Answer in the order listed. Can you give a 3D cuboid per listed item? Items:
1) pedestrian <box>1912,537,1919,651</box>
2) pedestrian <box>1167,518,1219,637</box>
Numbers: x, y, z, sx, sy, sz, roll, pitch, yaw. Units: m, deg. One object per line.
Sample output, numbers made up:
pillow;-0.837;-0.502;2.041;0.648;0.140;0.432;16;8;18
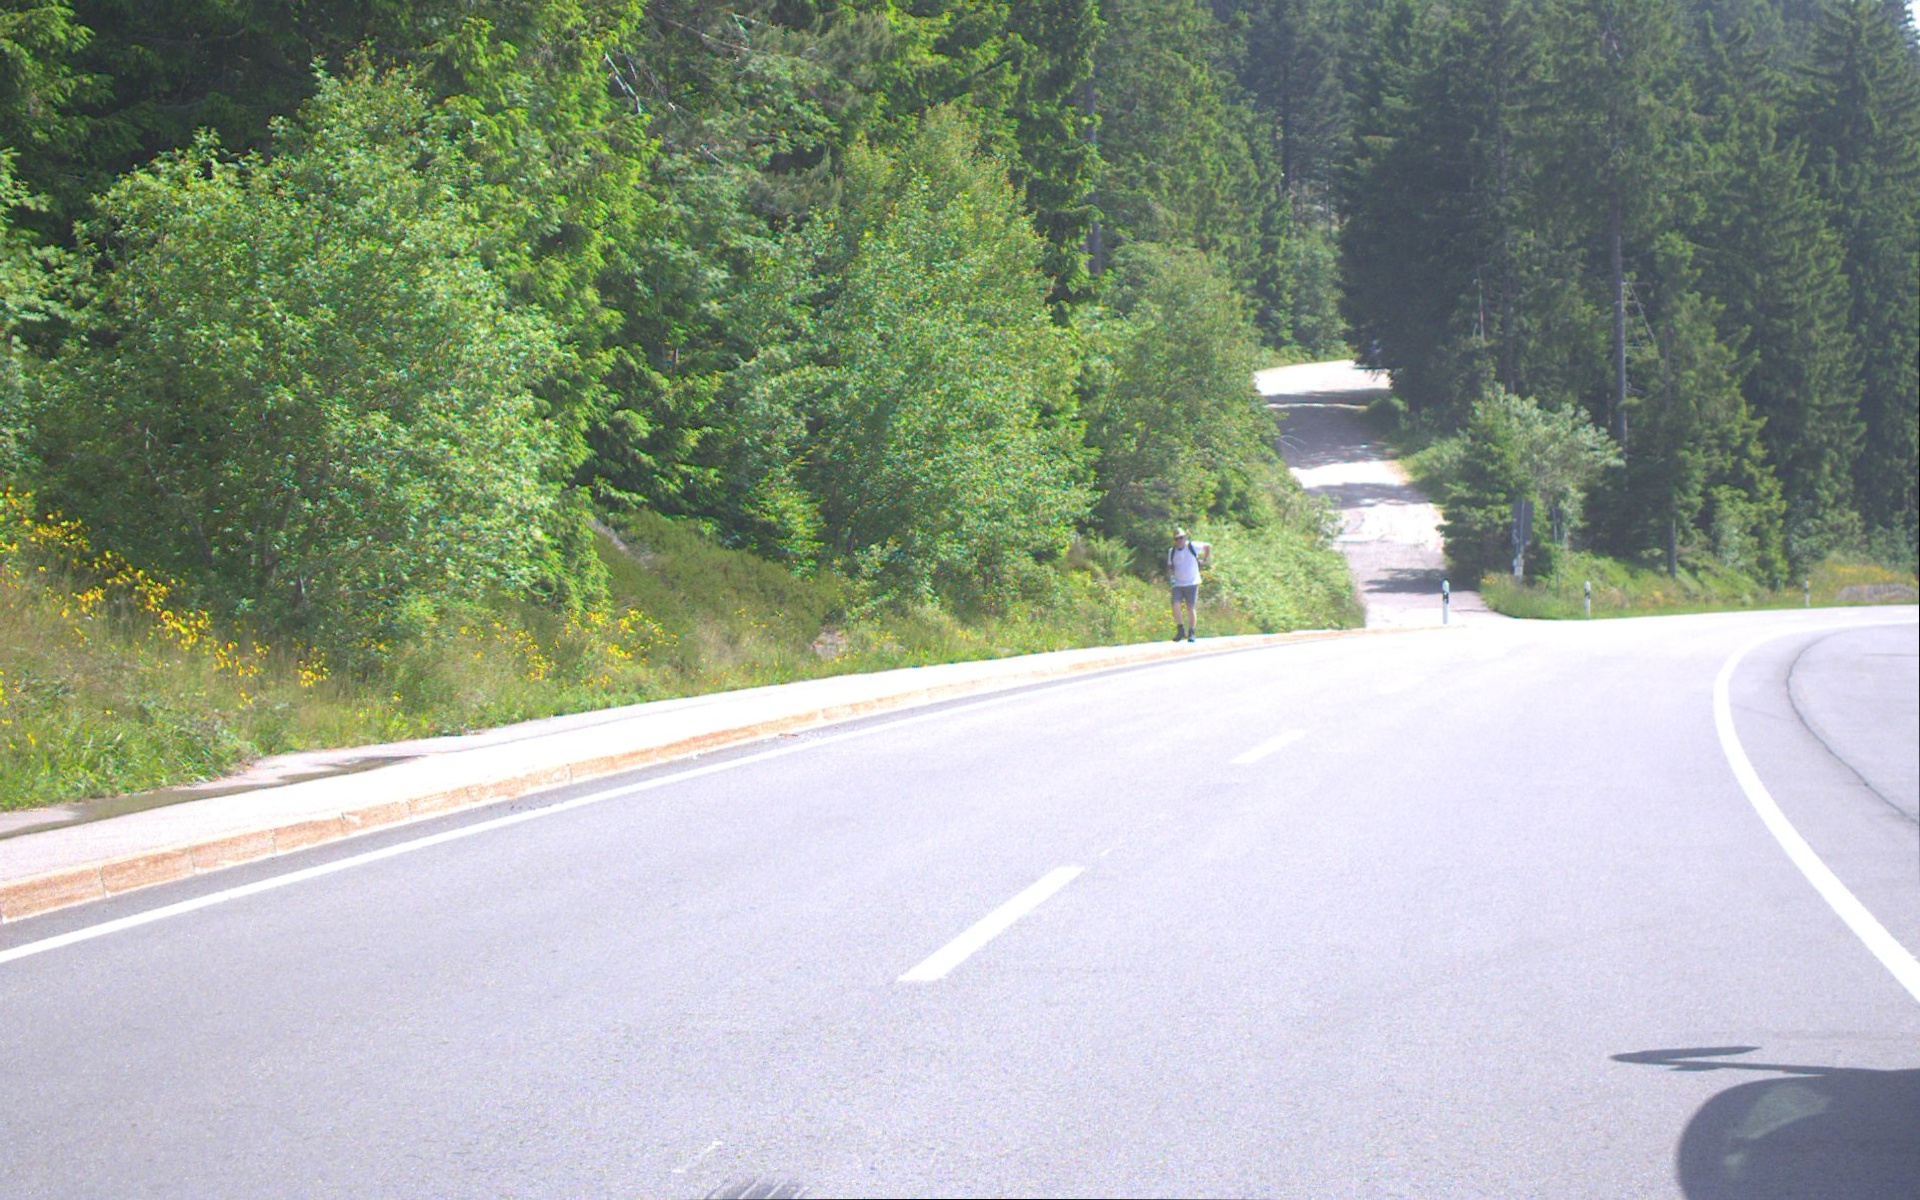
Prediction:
pedestrian;15.182;-0.101;53.118;0.755;1.754;0.774;1;1;27
pedestrian;3.473;-0.336;51.184;0.682;1.740;0.825;1;1;8
